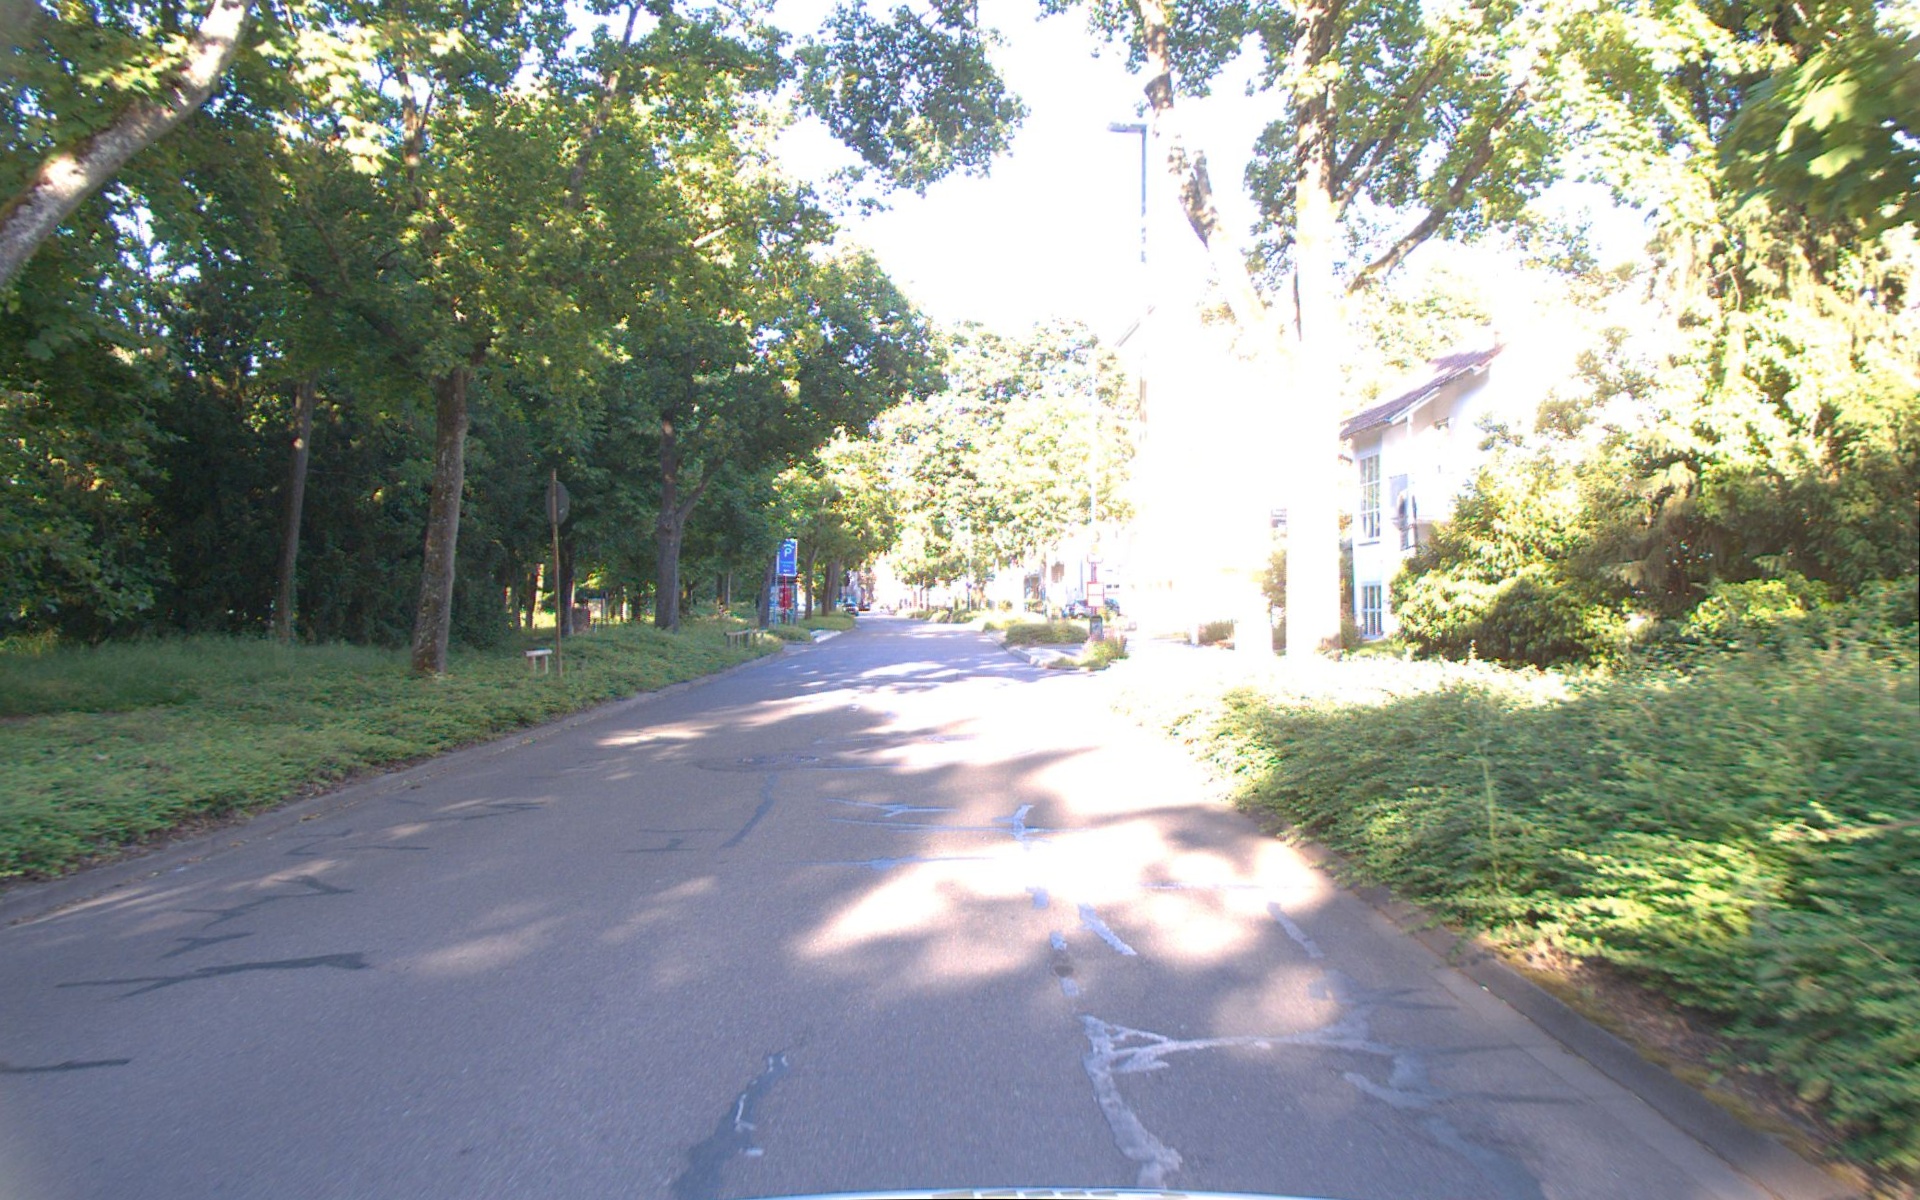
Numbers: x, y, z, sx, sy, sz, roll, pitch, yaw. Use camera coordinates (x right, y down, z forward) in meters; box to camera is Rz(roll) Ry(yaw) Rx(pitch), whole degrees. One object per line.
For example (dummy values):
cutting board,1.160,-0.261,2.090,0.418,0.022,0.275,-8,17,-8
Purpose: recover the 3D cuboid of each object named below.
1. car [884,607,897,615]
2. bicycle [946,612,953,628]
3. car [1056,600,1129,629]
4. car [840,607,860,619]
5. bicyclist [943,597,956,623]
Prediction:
car,-9.954,1.596,237.102,1.802,1.009,3.817,1,0,-2
bicycle,-0.710,1.332,109.048,0.430,0.995,1.661,0,1,-1
car,7.920,0.841,98.595,4.259,1.377,2.145,3,3,5
car,-12.926,1.528,194.390,1.957,1.378,3.532,1,0,-10
bicyclist,-0.707,0.686,109.055,0.849,1.669,1.114,1,1,-1
